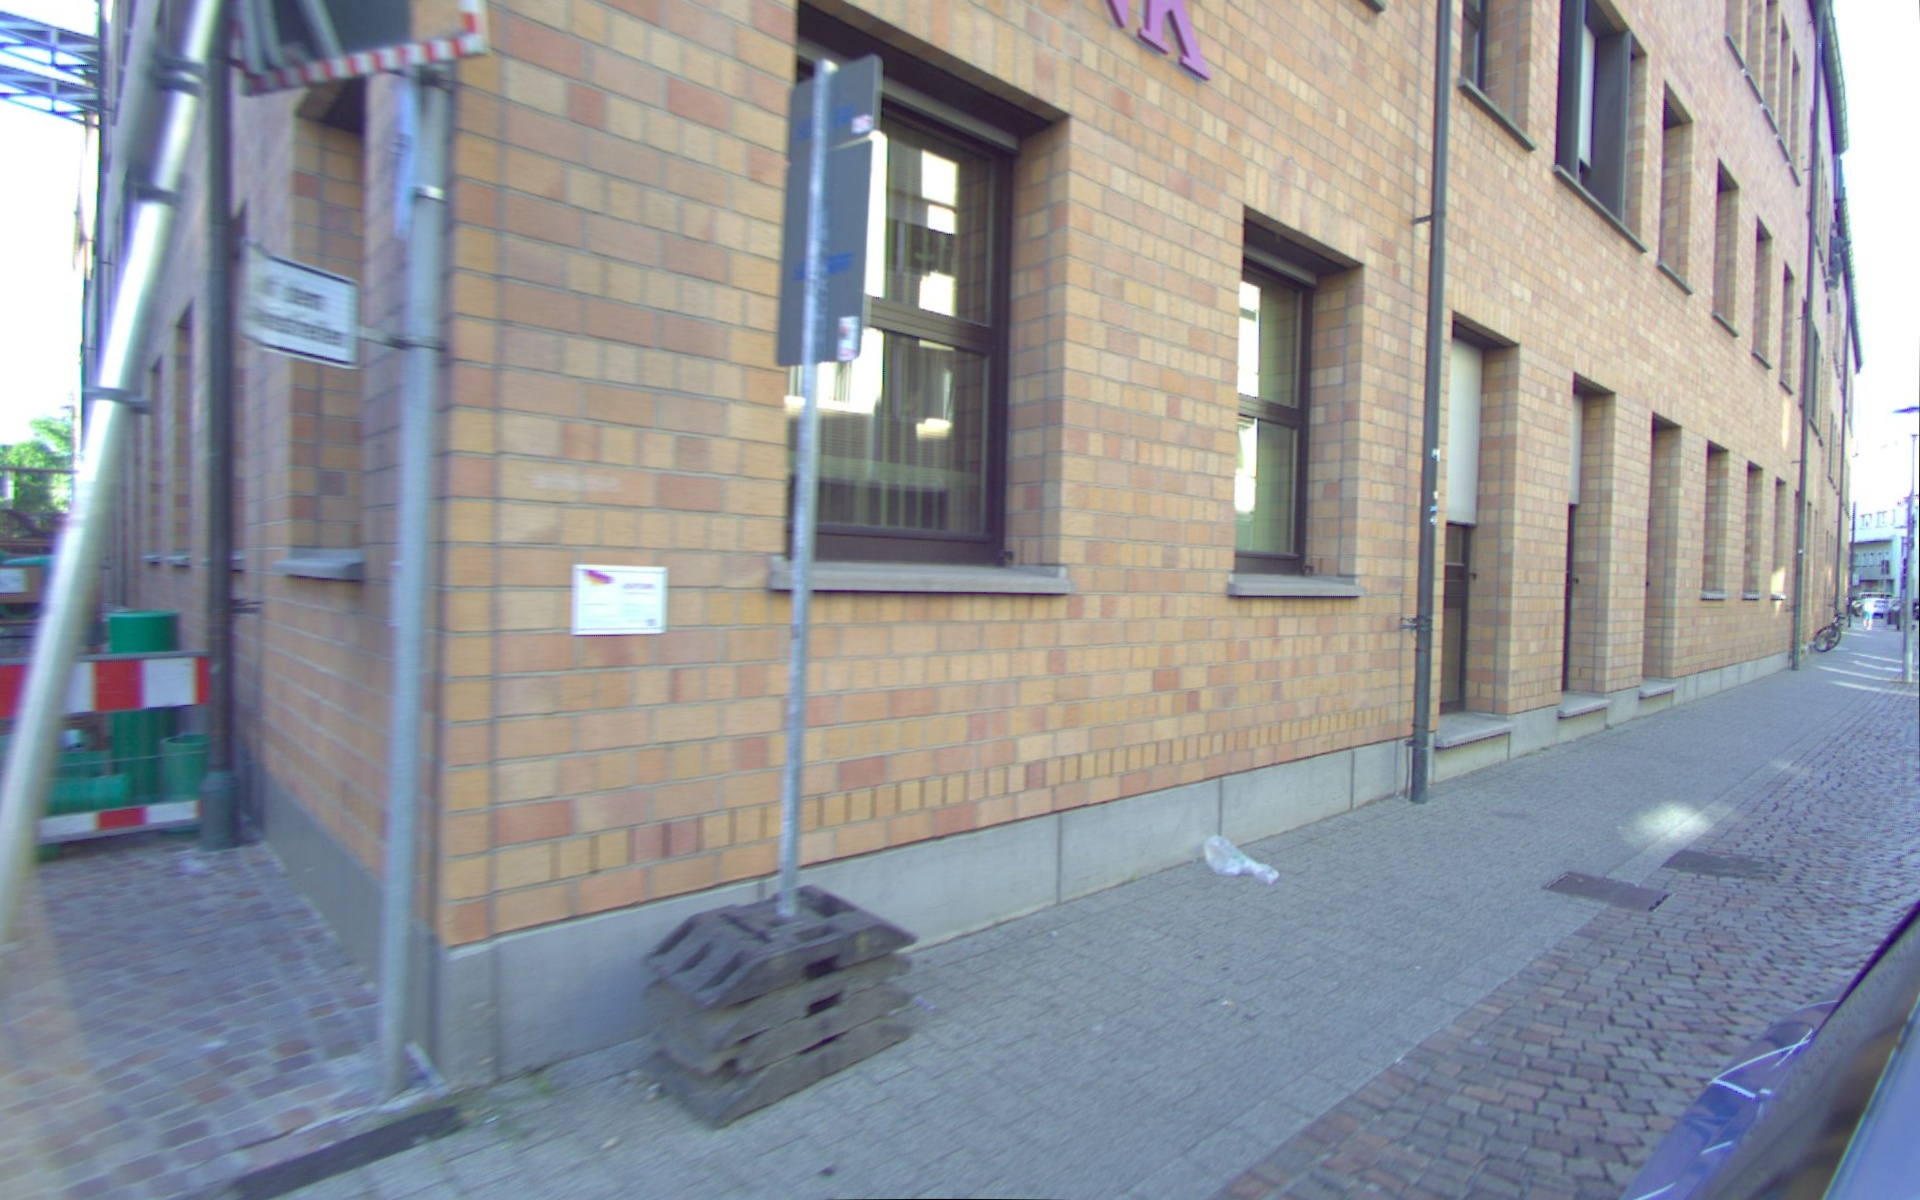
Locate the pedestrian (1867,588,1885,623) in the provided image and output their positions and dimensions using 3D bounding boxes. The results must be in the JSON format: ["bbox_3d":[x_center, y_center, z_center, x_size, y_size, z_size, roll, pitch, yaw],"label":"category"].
[{"bbox_3d":[41.876,0.246,46.272,0.398,1.564,0.542,0,2,-45],"label":"pedestrian"}]

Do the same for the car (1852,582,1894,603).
[{"bbox_3d":[76.149,-0.635,84.428,1.921,1.671,3.793,2,2,32],"label":"car"}]

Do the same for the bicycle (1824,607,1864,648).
[{"bbox_3d":[21.924,0.660,25.079,0.641,0.892,2.517,3,2,43],"label":"bicycle"}]

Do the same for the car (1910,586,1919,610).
[{"bbox_3d":[67.704,-0.113,70.153,1.921,1.671,3.793,1,1,32],"label":"car"}]
